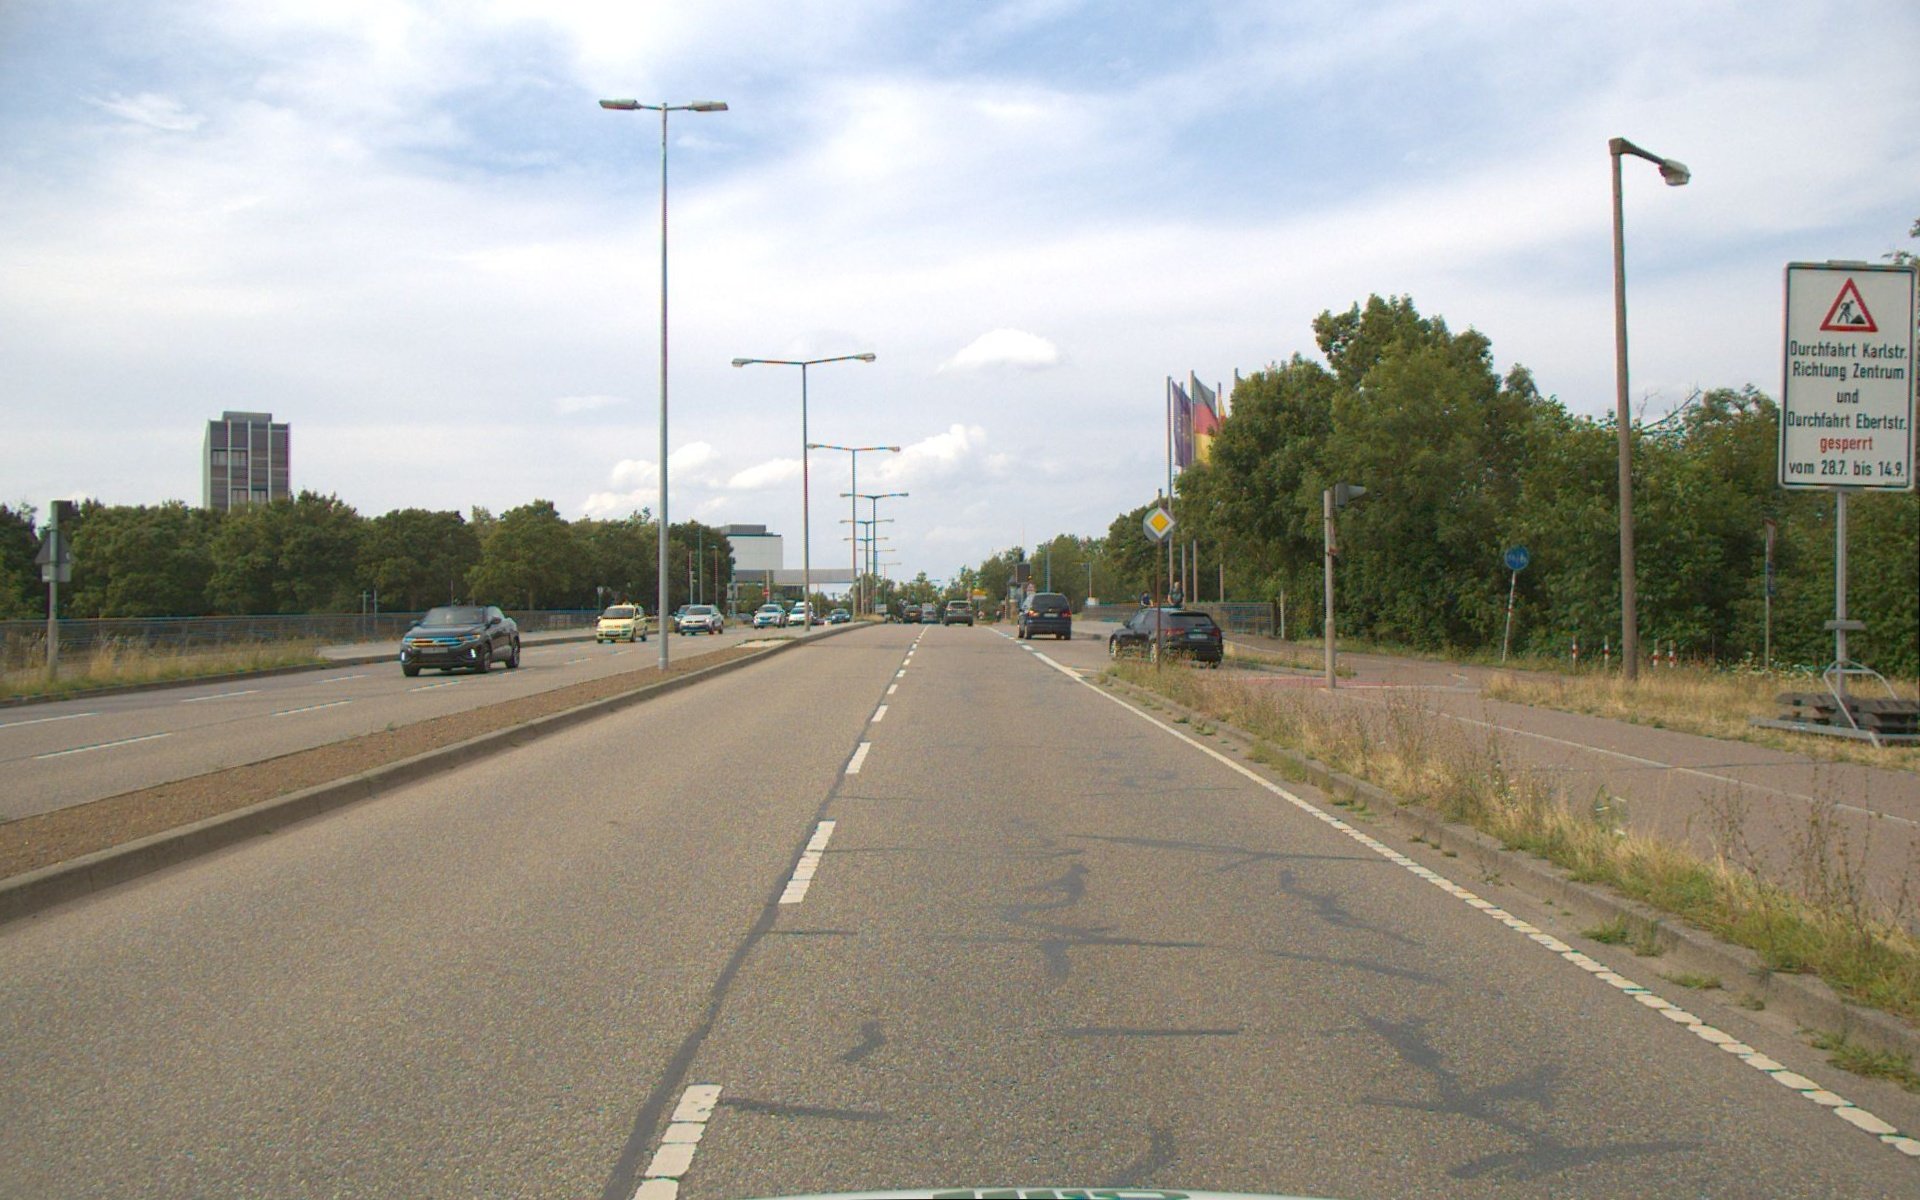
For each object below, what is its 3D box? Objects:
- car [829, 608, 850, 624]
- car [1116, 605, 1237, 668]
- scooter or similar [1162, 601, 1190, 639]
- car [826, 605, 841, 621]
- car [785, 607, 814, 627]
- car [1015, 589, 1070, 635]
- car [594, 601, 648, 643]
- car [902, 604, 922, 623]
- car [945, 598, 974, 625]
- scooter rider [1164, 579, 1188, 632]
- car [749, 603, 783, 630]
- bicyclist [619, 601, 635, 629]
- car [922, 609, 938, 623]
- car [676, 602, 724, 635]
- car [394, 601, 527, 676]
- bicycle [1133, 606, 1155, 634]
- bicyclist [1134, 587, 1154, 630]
[{"bbox_3d":[-11.553,1.541,158.702,1.703,1.506,4.774,-2,-1,-1],"label":"car"},{"bbox_3d":[5.375,0.875,41.499,1.701,1.419,4.101,-1,1,-13],"label":"car"},{"bbox_3d":[7.042,0.652,54.042,0.577,1.246,1.200,1,-1,-9],"label":"scooter or similar"},{"bbox_3d":[-15.607,1.606,204.153,1.508,1.904,3.570,-2,0,0],"label":"car"},{"bbox_3d":[-13.071,1.360,134.962,1.702,1.506,4.472,-2,0,2],"label":"car"},{"bbox_3d":[3.125,0.470,63.350,1.696,1.682,4.112,1,-1,-3],"label":"car"},{"bbox_3d":[-14.245,0.897,69.662,1.517,1.605,3.690,-2,0,-1],"label":"car"},{"bbox_3d":[-4.425,1.252,152.194,1.695,1.682,4.114,0,-1,-1],"label":"car"},{"bbox_3d":[-0.060,0.775,106.945,1.696,1.682,4.113,1,-1,-2],"label":"car"},{"bbox_3d":[7.060,0.189,53.982,0.576,1.720,0.742,1,-1,-9],"label":"scooter rider"},{"bbox_3d":[-13.783,1.164,117.741,1.825,1.755,4.770,-2,0,0],"label":"car"},{"bbox_3d":[-19.877,0.874,98.818,0.779,1.655,0.976,1,-1,-4],"label":"bicyclist"},{"bbox_3d":[-3.422,1.837,188.958,1.696,1.553,4.113,1,-1,-2],"label":"car"},{"bbox_3d":[-13.096,0.926,83.607,1.615,1.542,4.017,-2,0,2],"label":"car"},{"bbox_3d":[-11.011,0.806,36.759,1.728,1.466,4.176,-2,1,-1],"label":"car"},{"bbox_3d":[7.424,0.809,66.898,0.565,1.039,1.975,-3,1,-1],"label":"bicycle"},{"bbox_3d":[7.434,0.336,66.821,0.651,1.688,0.805,1,1,-2],"label":"bicyclist"}]
